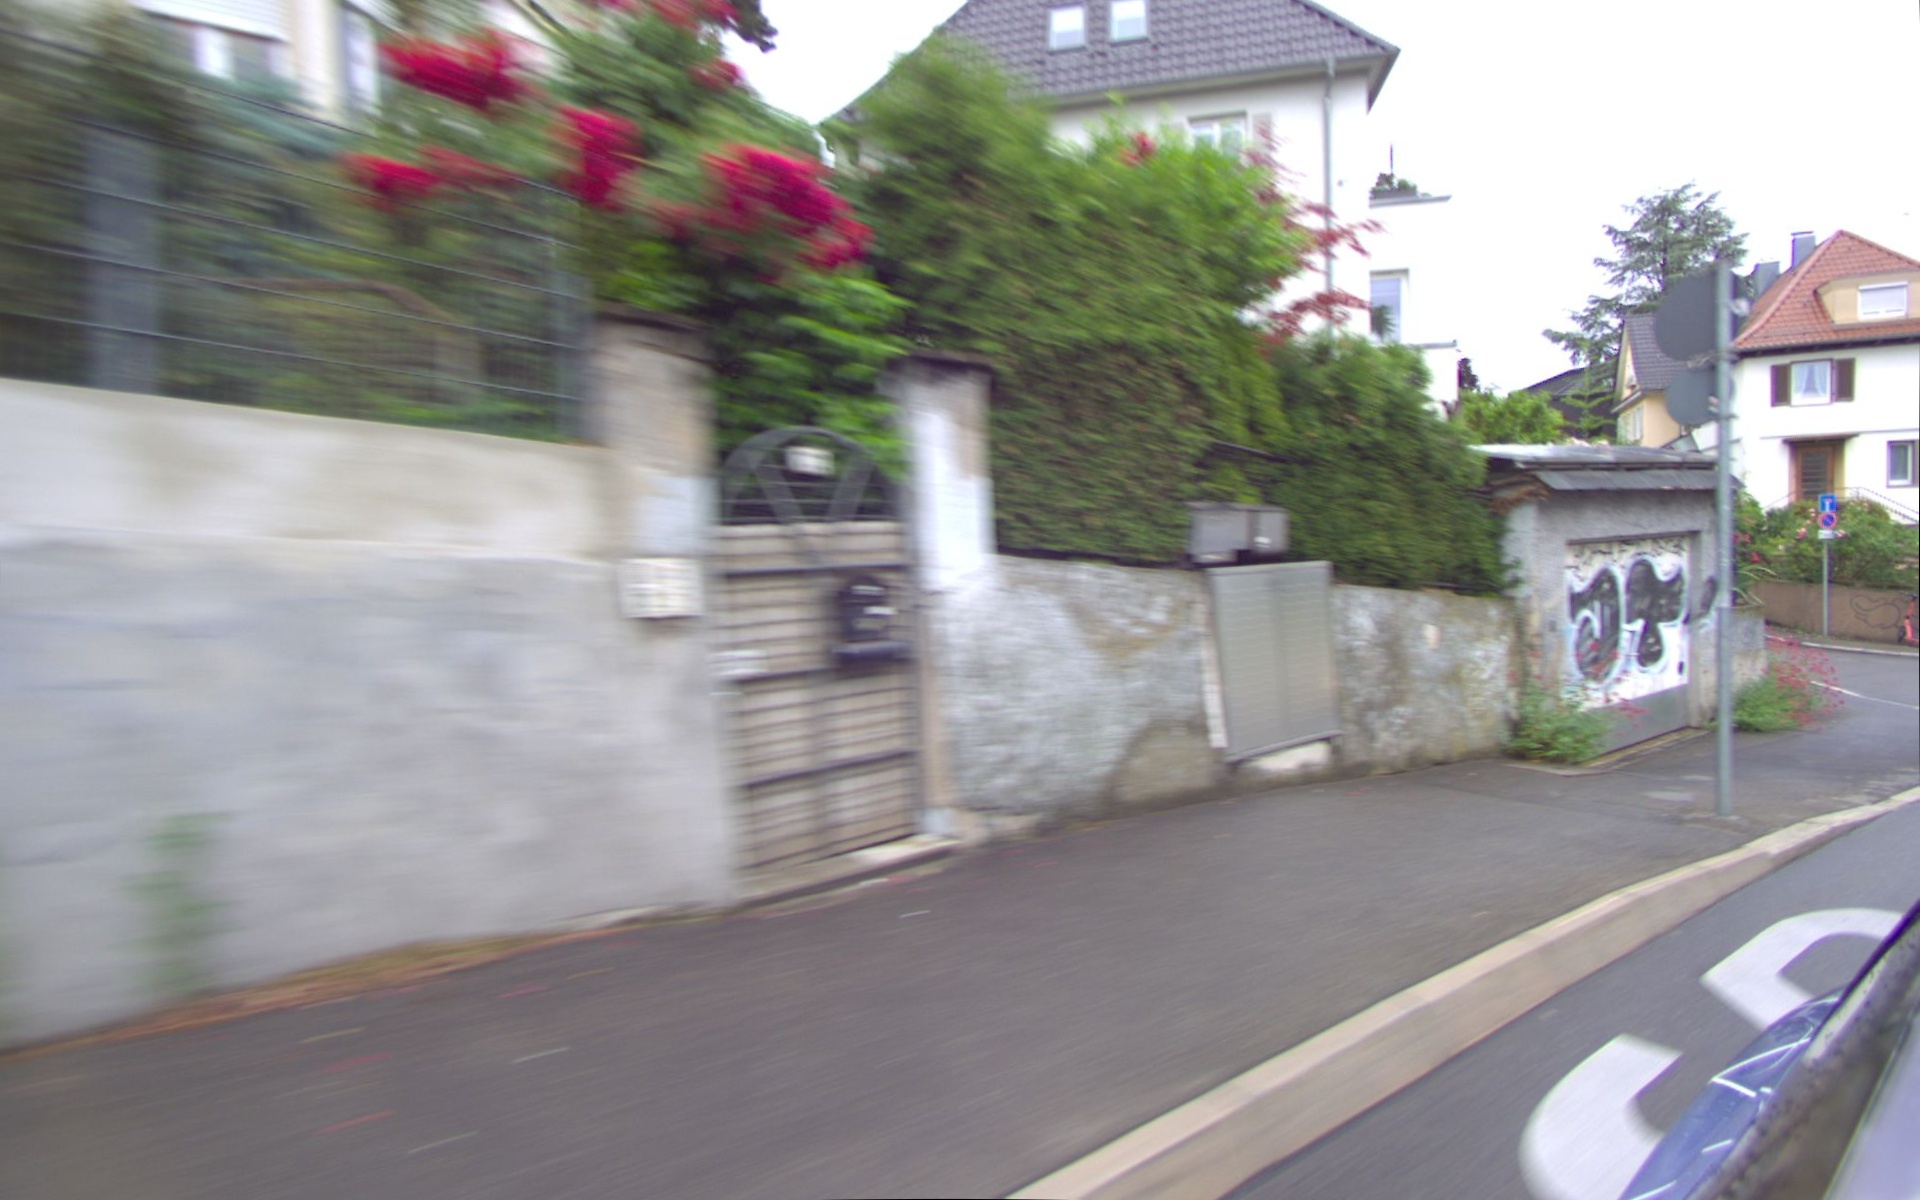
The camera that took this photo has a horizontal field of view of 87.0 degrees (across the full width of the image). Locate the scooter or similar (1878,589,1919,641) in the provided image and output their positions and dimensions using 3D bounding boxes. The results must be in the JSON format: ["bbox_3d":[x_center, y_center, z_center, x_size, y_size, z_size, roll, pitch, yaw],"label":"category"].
[{"bbox_3d":[22.923,0.365,24.213,0.643,1.069,1.555,3,6,12],"label":"scooter or similar"}]

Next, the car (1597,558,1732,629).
[{"bbox_3d":[21.006,-0.285,30.424,1.972,1.702,4.353,1,6,16],"label":"car"}]
